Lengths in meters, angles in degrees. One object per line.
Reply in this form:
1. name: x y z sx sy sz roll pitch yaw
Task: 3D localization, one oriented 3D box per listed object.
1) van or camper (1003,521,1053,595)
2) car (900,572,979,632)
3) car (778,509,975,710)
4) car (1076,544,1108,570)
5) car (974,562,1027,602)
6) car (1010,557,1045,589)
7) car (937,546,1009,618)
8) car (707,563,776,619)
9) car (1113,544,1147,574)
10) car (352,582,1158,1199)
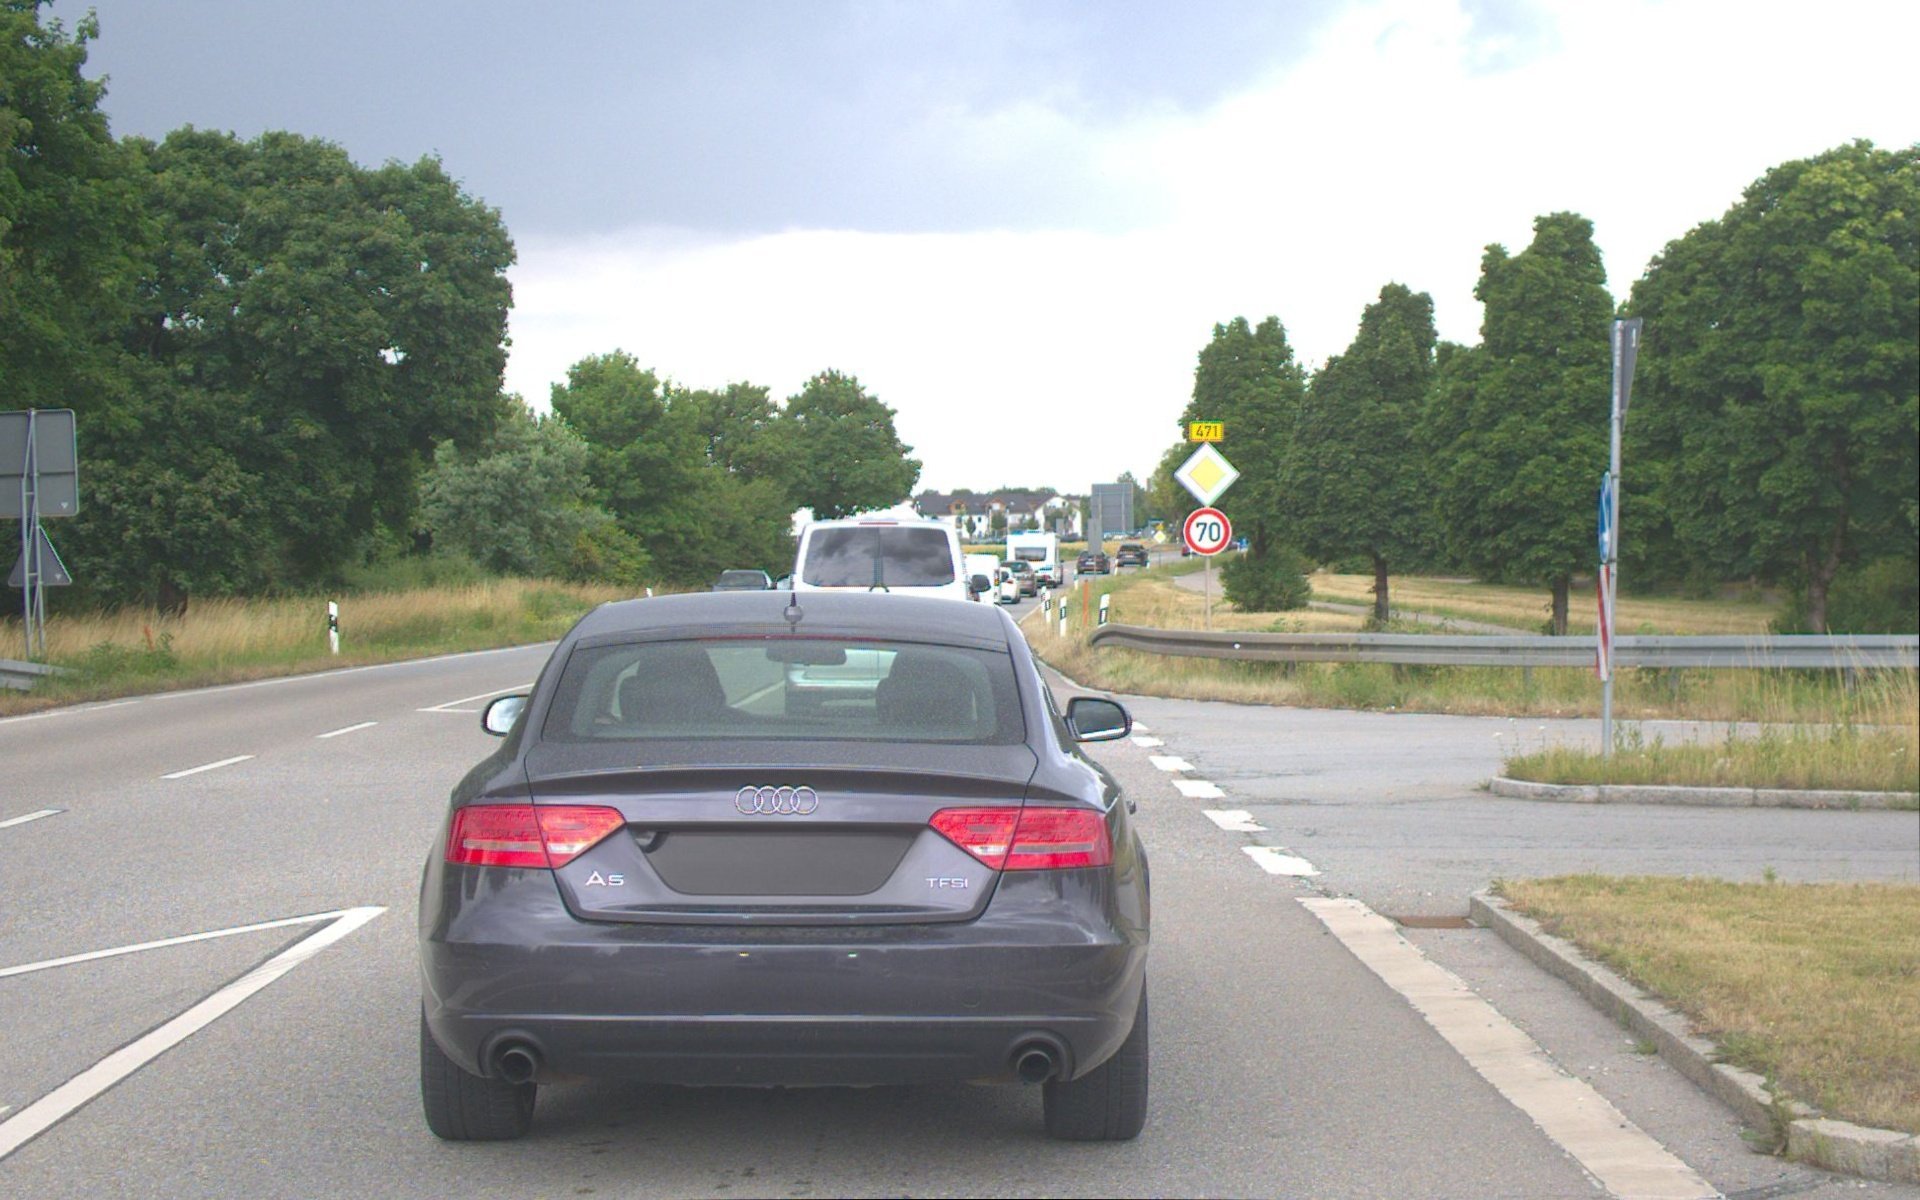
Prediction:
1. van or camper: 3.244 -1.996 164.232 2.340 3.469 5.718 0 1 1
2. car: -0.501 0.029 86.434 1.796 1.459 3.248 0 1 3
3. car: -0.810 0.054 34.340 1.838 1.876 4.000 1 1 -1
4. car: 7.786 -2.542 202.806 1.719 1.446 4.000 1 1 1
5. car: 1.572 -0.691 132.385 1.736 1.509 3.746 0 1 5
6. car: 2.872 -1.141 145.956 1.258 1.349 3.465 0 1 5
7. car: 0.407 -0.545 102.027 1.994 2.081 4.000 0 1 2
8. car: -6.121 -0.265 96.666 1.711 1.517 4.000 0 1 0
9. car: 11.316 -2.730 229.494 1.993 2.007 4.000 0 1 -1
10. car: -0.482 0.672 9.672 1.783 1.372 4.000 1 1 -1
